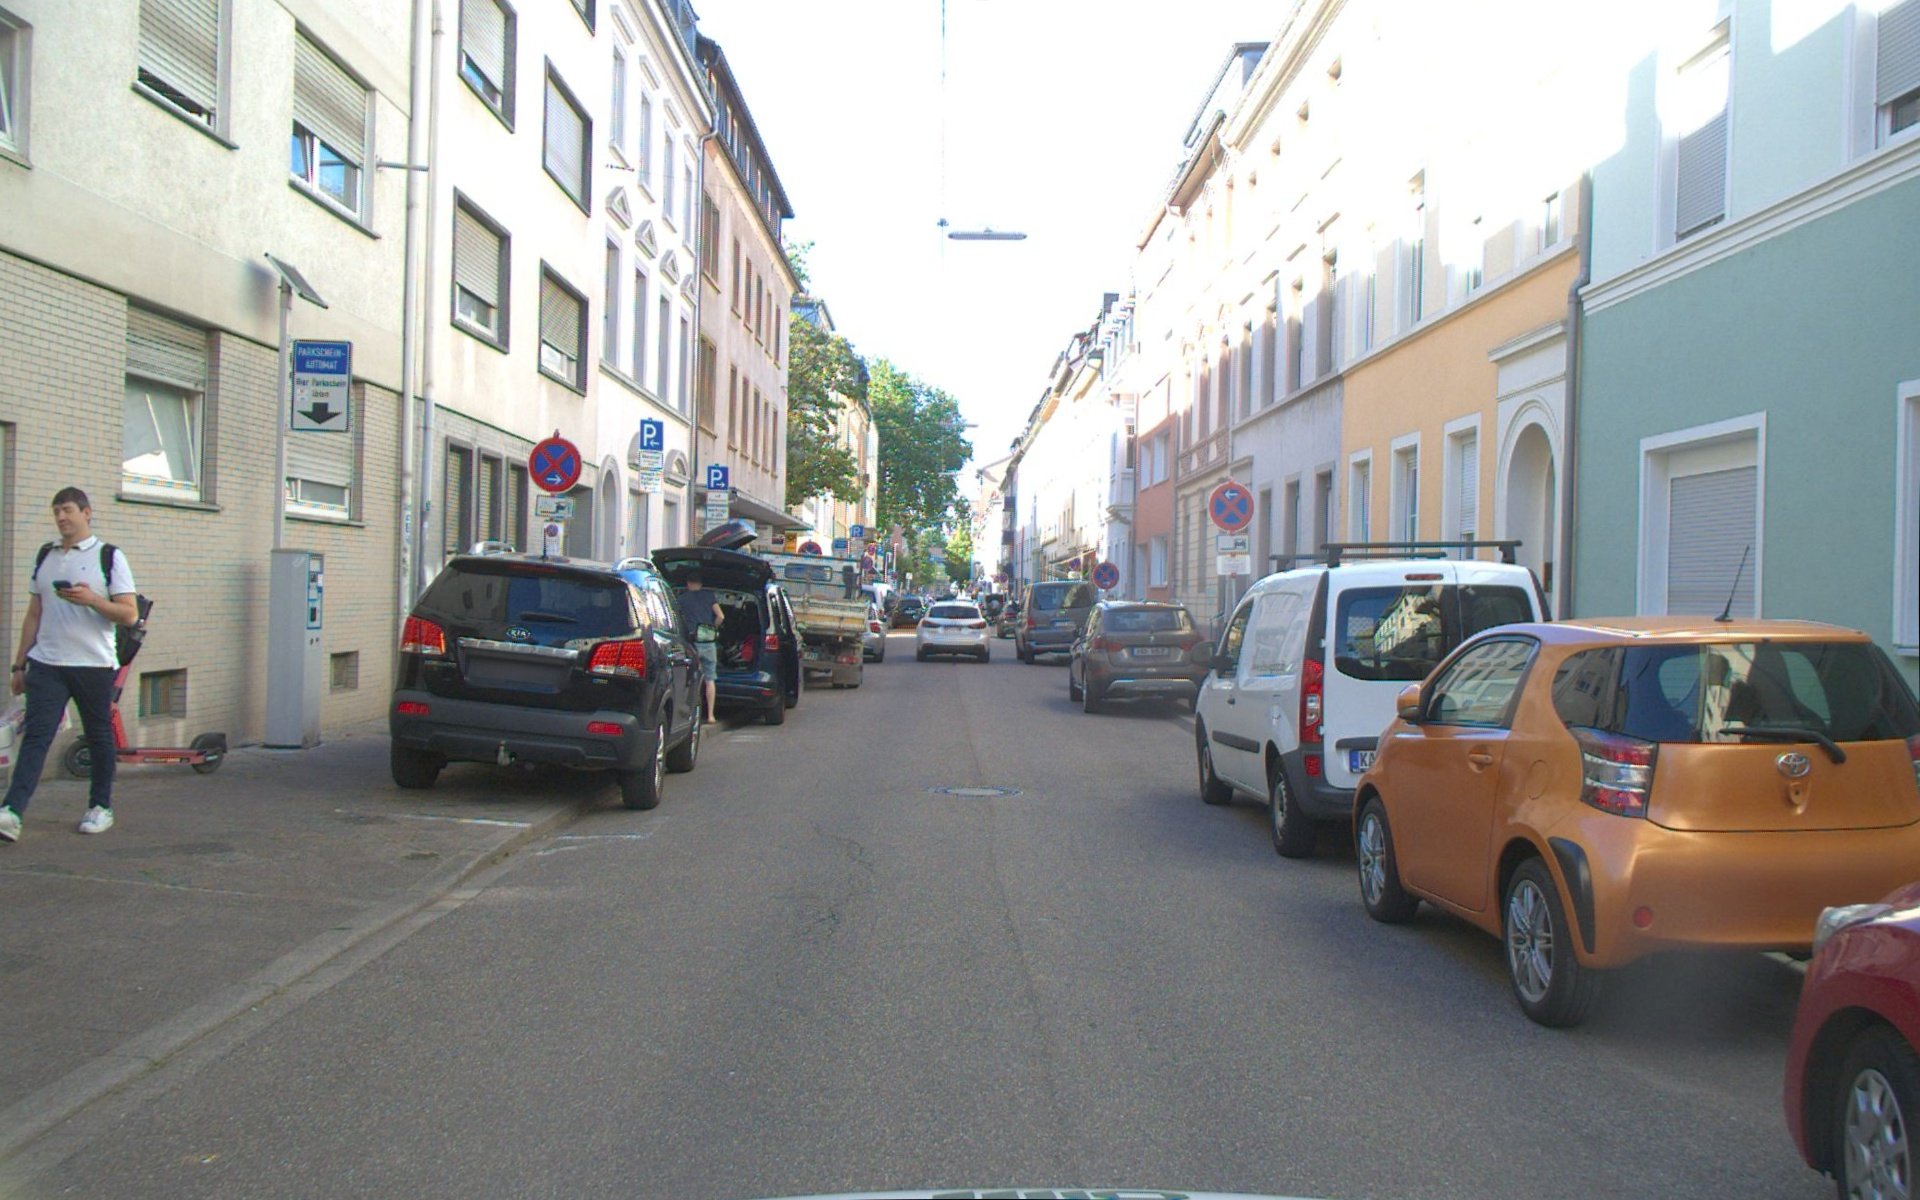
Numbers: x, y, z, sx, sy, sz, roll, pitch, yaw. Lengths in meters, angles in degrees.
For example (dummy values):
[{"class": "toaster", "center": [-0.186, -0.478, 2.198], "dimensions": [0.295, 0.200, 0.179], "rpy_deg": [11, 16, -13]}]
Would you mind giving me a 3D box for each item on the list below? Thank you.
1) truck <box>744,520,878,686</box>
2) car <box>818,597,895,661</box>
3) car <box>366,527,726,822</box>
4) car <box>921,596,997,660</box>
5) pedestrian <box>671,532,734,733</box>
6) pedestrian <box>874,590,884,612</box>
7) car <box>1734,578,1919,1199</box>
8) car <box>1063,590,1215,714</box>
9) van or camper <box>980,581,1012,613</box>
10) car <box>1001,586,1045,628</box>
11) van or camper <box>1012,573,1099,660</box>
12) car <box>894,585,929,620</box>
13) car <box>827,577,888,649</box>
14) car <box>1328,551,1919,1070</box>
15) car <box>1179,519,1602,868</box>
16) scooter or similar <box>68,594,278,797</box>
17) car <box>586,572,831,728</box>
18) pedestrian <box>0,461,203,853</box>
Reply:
[{"class": "truck", "center": [-2.632, 0.090, 29.420], "dimensions": [2.115, 2.635, 6.242], "rpy_deg": [0, -1, -5]}, {"class": "car", "center": [-2.483, 0.669, 40.489], "dimensions": [1.722, 1.440, 3.999], "rpy_deg": [-1, 0, -2]}, {"class": "car", "center": [-2.974, 0.449, 12.892], "dimensions": [1.843, 1.786, 4.539], "rpy_deg": [4, 1, -4]}, {"class": "car", "center": [-0.003, 0.657, 41.306], "dimensions": [1.796, 1.512, 4.057], "rpy_deg": [1, 0, 0]}, {"class": "pedestrian", "center": [-2.953, 0.373, 19.035], "dimensions": [0.606, 2.268, 0.688], "rpy_deg": [0, -1, -1]}, {"class": "pedestrian", "center": [-5.543, 0.053, 112.882], "dimensions": [0.614, 1.490, 0.575], "rpy_deg": [0, -1, -1]}, {"class": "car", "center": [2.922, 0.780, 2.339], "dimensions": [1.707, 1.596, 4.031], "rpy_deg": [1, 1, -1]}, {"class": "car", "center": [2.533, 0.683, 24.358], "dimensions": [1.704, 1.604, 4.377], "rpy_deg": [1, 1, -1]}, {"class": "van or camper", "center": [2.251, -0.167, 104.571], "dimensions": [1.953, 1.959, 3.999], "rpy_deg": [0, -1, 0]}, {"class": "car", "center": [2.511, 0.273, 66.691], "dimensions": [1.613, 1.604, 3.679], "rpy_deg": [1, 0, 0]}, {"class": "van or camper", "center": [2.372, 0.410, 42.268], "dimensions": [1.739, 2.072, 4.568], "rpy_deg": [-1, 0, -3]}, {"class": "car", "center": [-2.394, 0.121, 81.622], "dimensions": [1.591, 1.625, 3.580], "rpy_deg": [1, 0, 0]}, {"class": "car", "center": [-2.849, 0.346, 46.419], "dimensions": [1.614, 1.900, 3.998], "rpy_deg": [1, 0, -3]}, {"class": "car", "center": [2.907, 0.686, 7.243], "dimensions": [1.549, 1.660, 3.680], "rpy_deg": [2, 0, -3]}, {"class": "car", "center": [2.772, 0.541, 11.692], "dimensions": [1.746, 1.996, 4.334], "rpy_deg": [1, 0, -2]}, {"class": "scooter or similar", "center": [-5.331, 0.612, 11.249], "dimensions": [0.430, 1.300, 1.227], "rpy_deg": [0, 0, 40]}, {"class": "car", "center": [-3.078, 0.552, 21.501], "dimensions": [2.391, 1.735, 5.241], "rpy_deg": [1, 0, -1]}, {"class": "pedestrian", "center": [-4.652, 0.290, 8.827], "dimensions": [0.790, 1.967, 0.690], "rpy_deg": [3, 0, -1]}]
